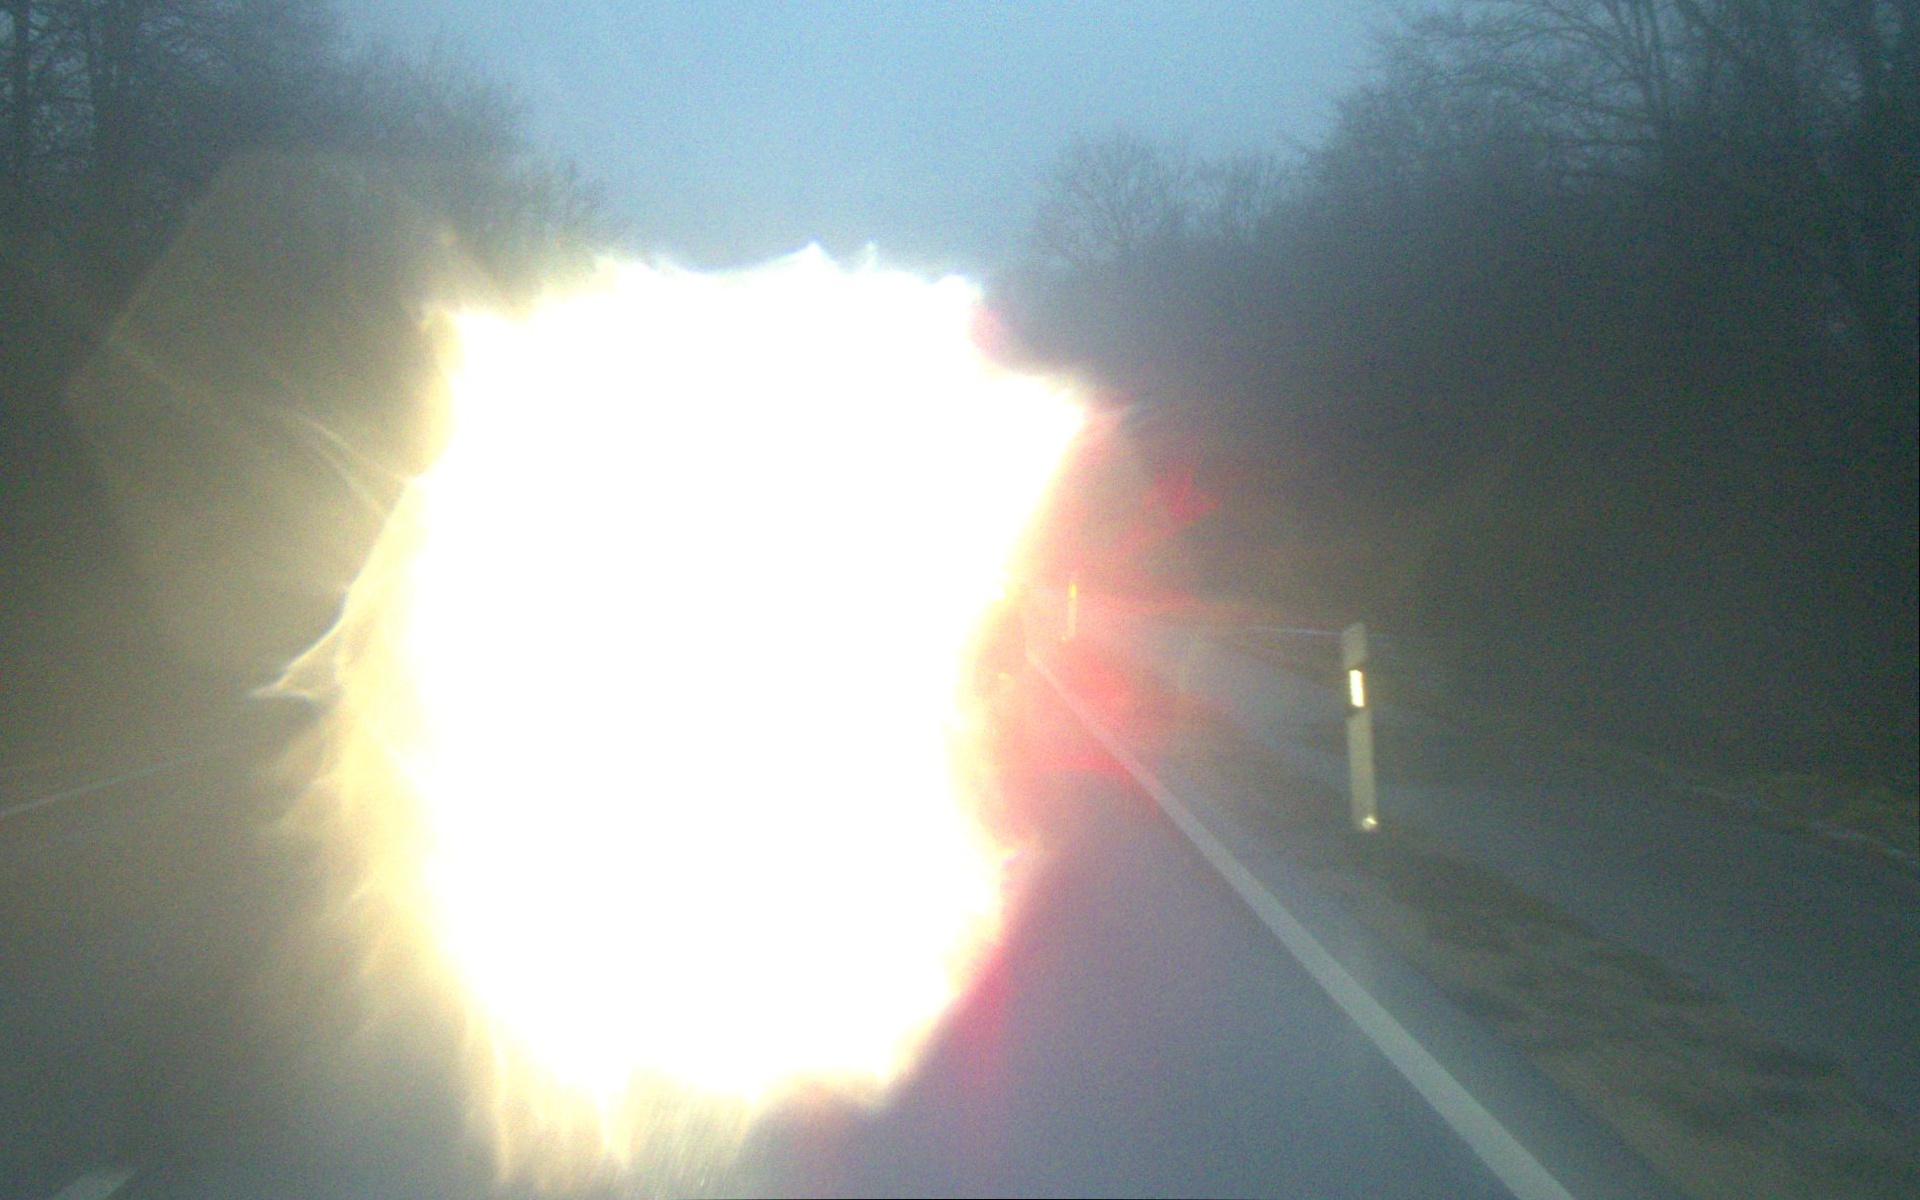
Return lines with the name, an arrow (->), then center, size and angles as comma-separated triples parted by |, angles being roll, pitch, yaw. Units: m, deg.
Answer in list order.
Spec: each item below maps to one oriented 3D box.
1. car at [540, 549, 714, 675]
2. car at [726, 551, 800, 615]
car -> -4.152, 0.113, 43.449 | 1.764, 1.453, 4.508 | -2, 1, -1
car -> -5.161, -0.463, 90.571 | 1.741, 1.629, 4.000 | -1, 1, -1
